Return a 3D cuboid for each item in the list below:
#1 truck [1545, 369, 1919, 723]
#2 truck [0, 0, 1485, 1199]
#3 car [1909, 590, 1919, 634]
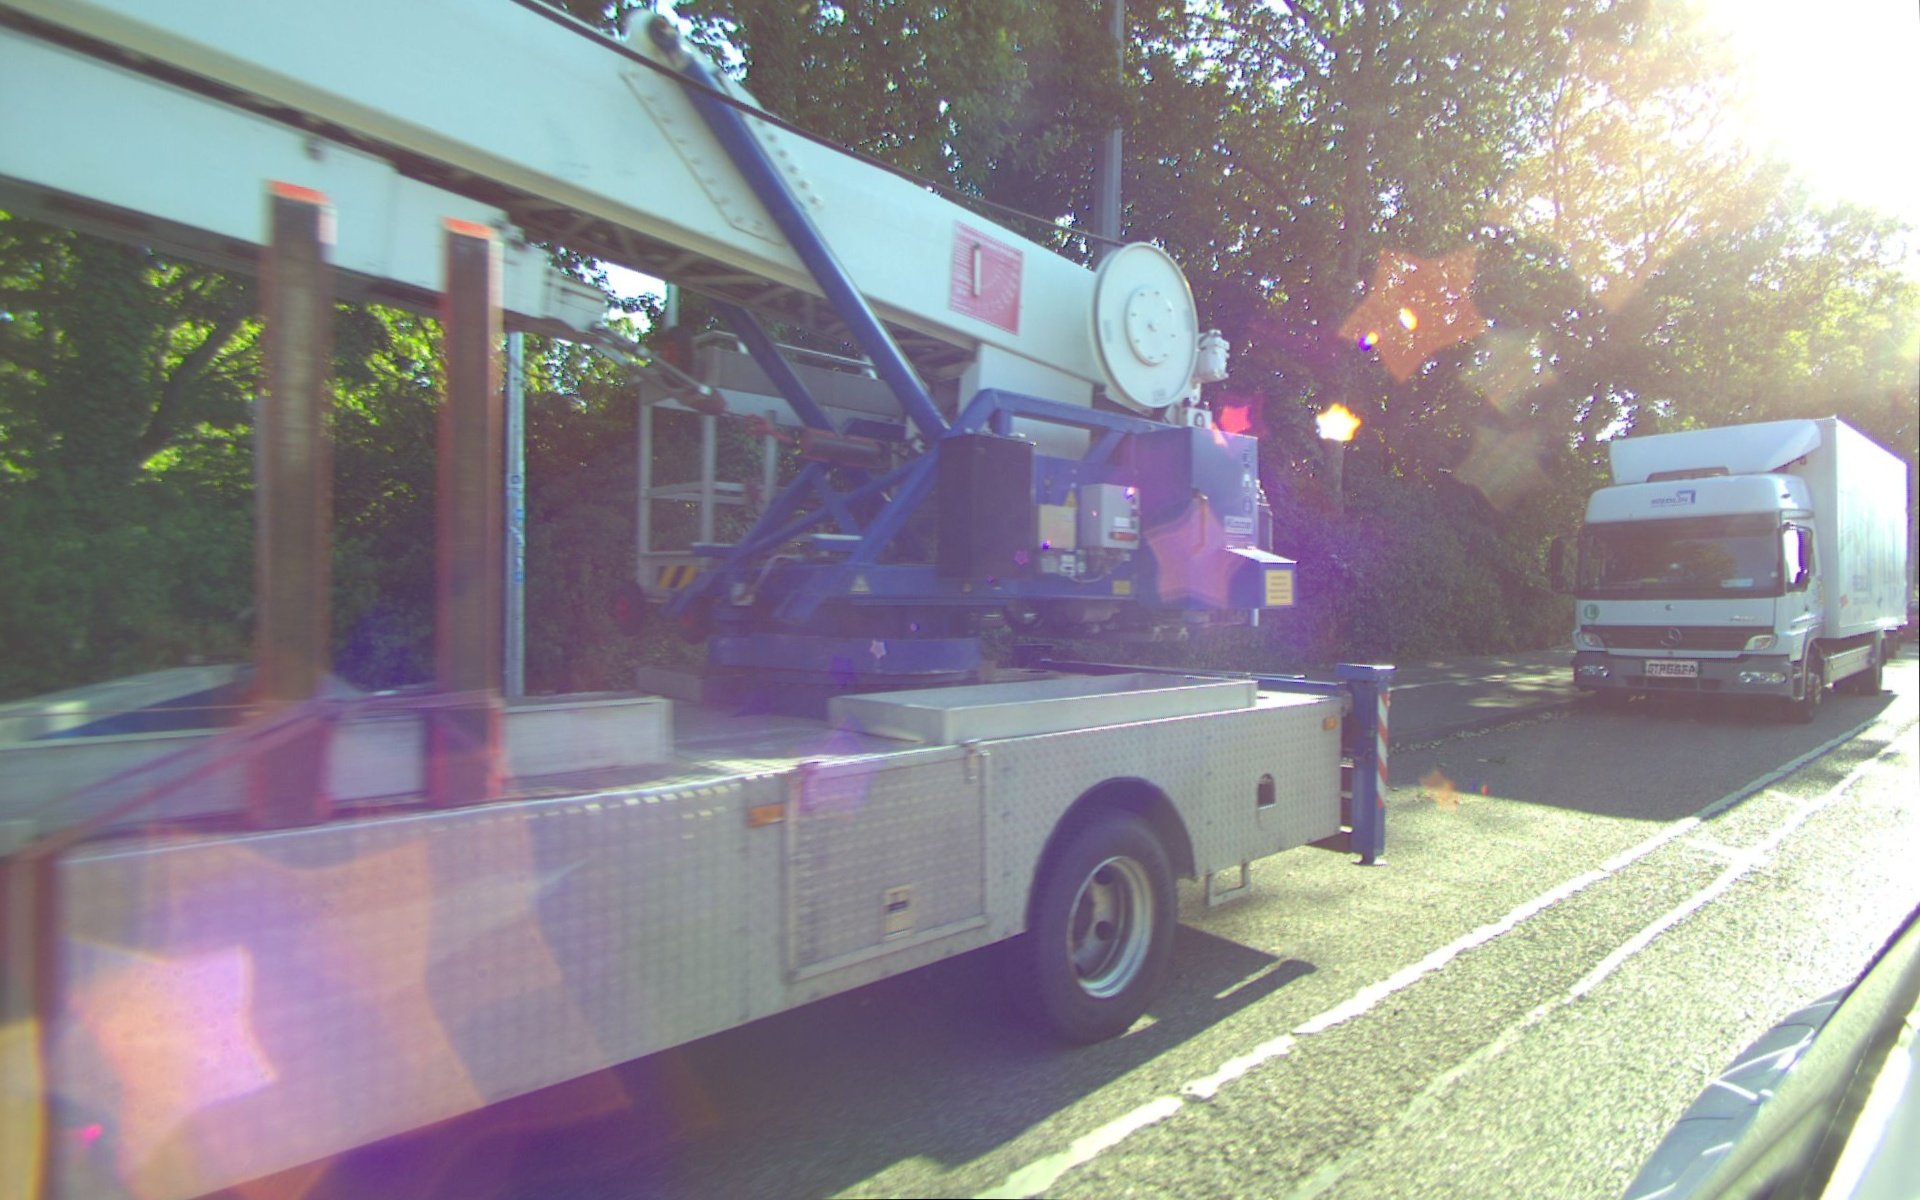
[{"bbox_3d":[12.152,-0.615,15.284,9.914,3.831,2.746,0,0,-41],"label":"truck"},{"bbox_3d":[-2.114,-0.519,2.428,9.592,3.831,2.721,0,0,-41],"label":"truck"},{"bbox_3d":[35.023,0.397,35.878,3.576,1.556,1.643,0,-1,-41],"label":"car"}]
